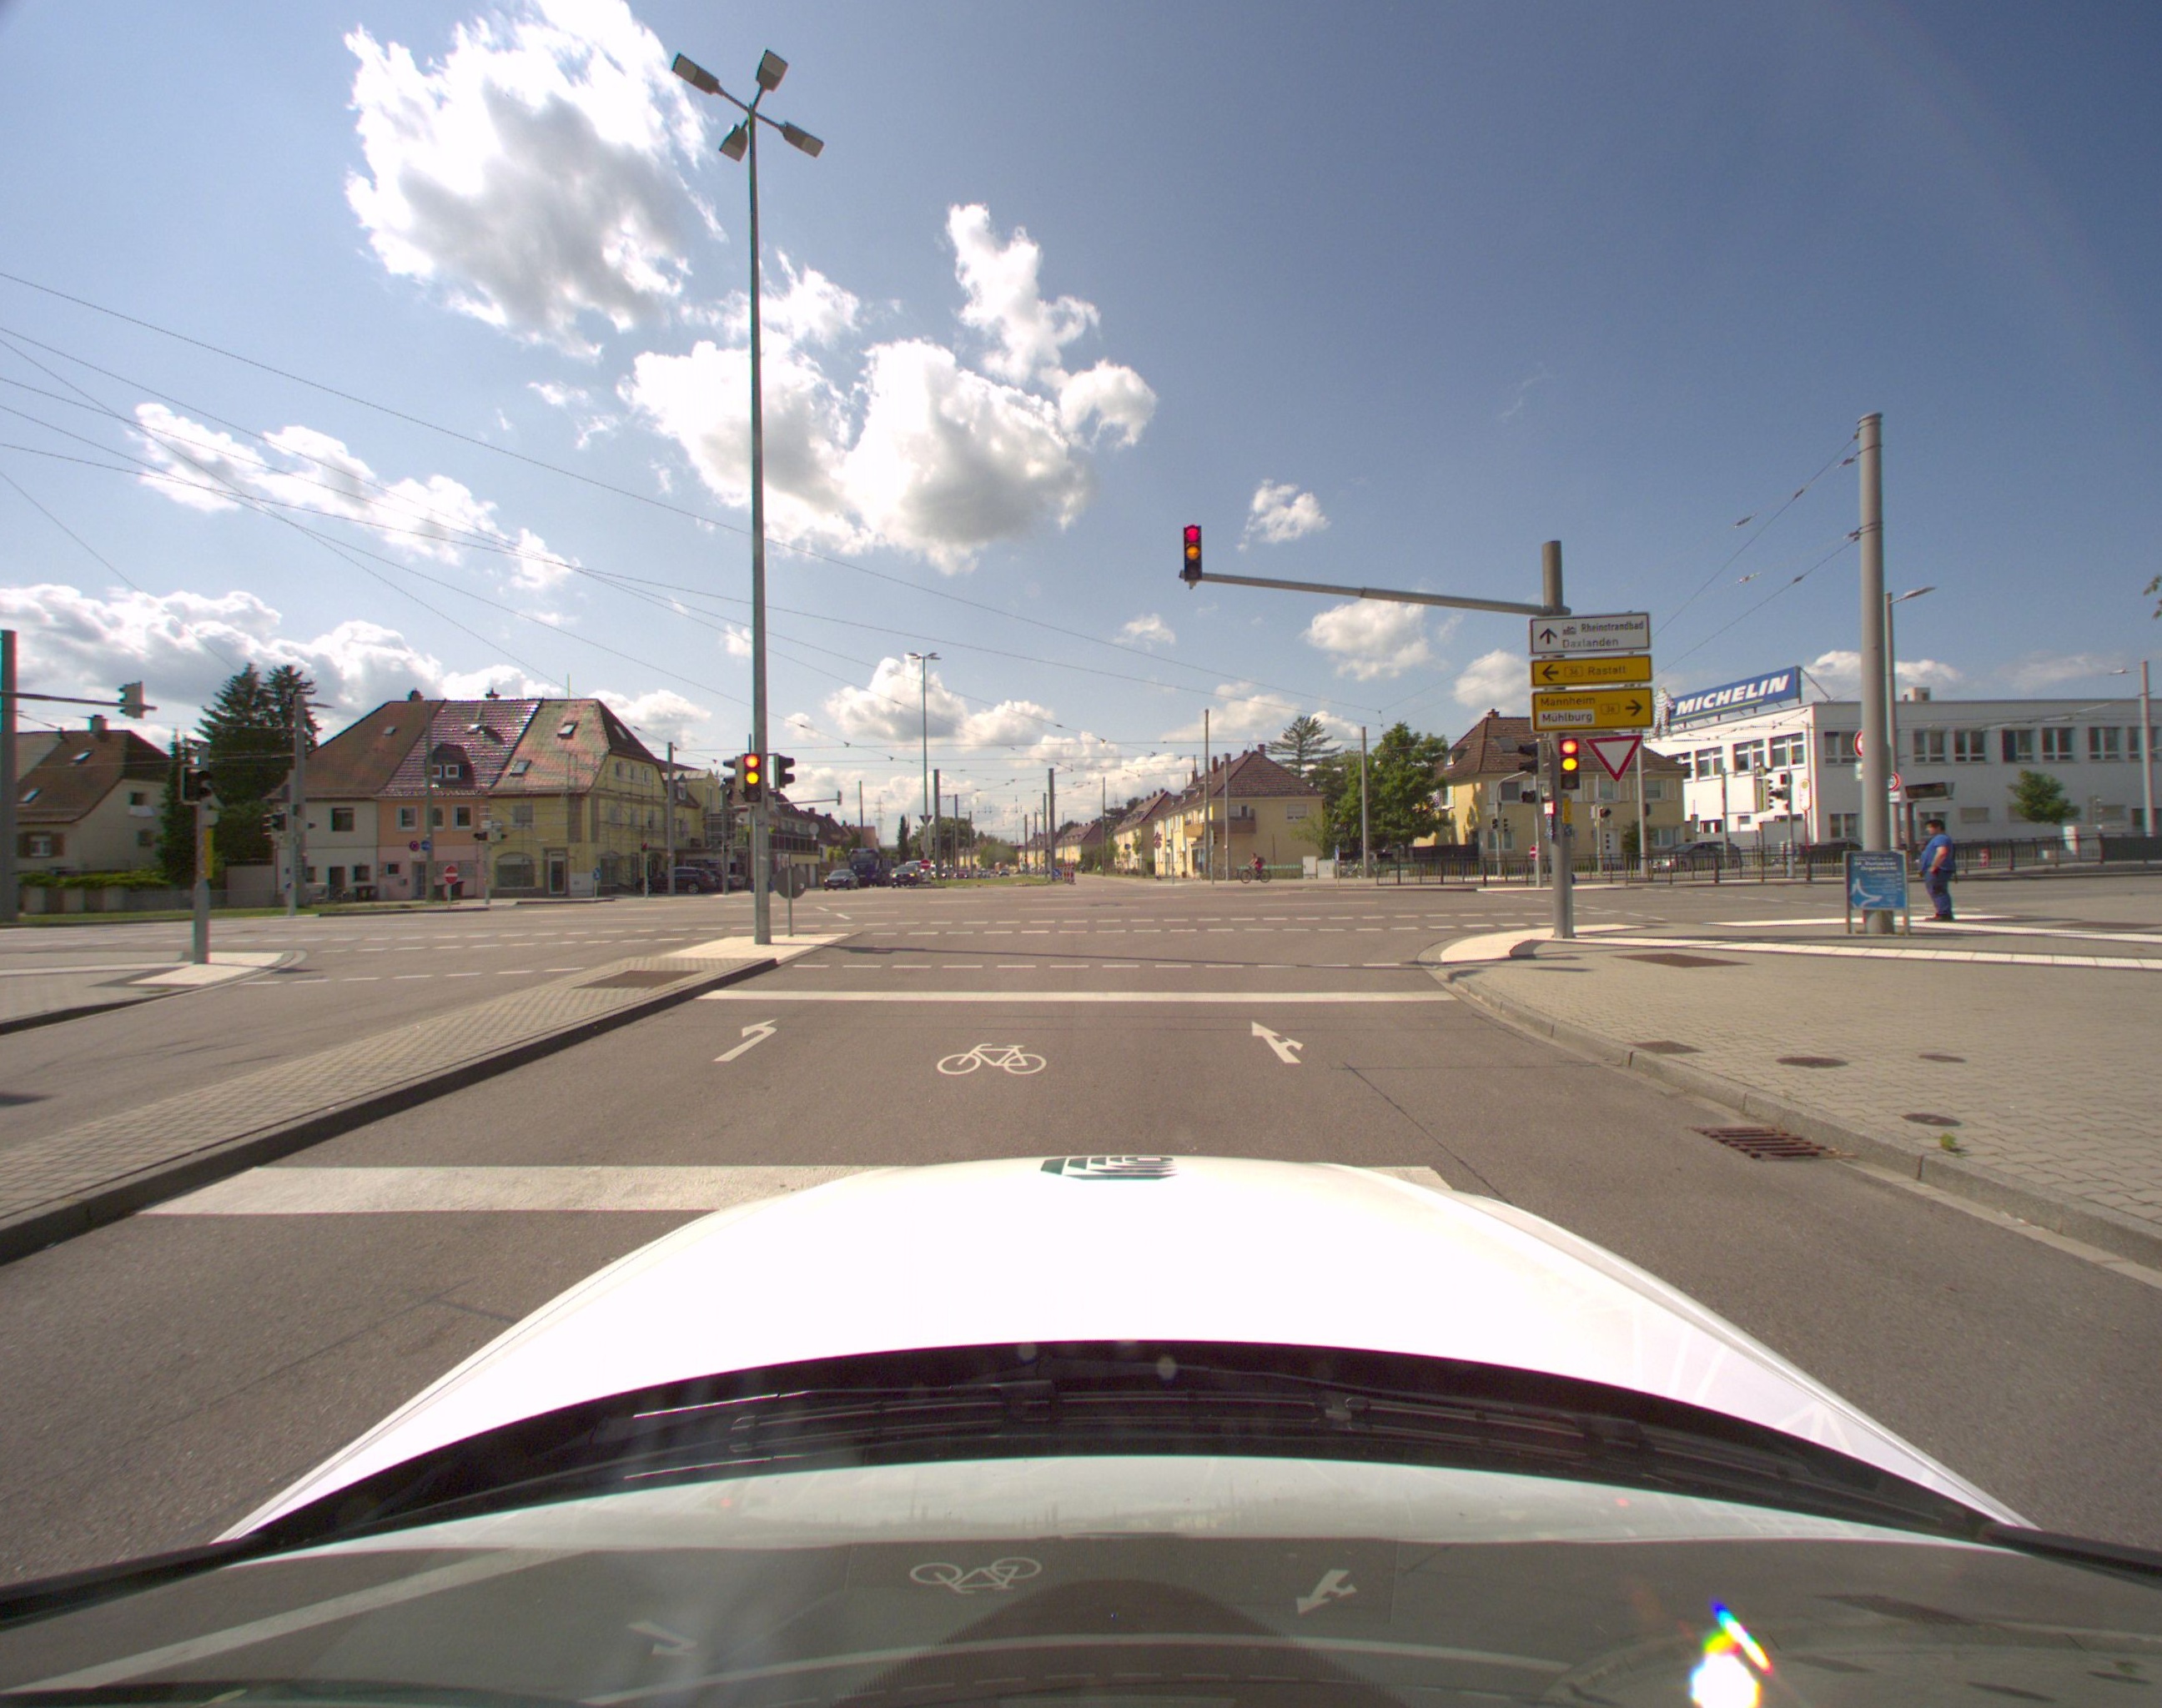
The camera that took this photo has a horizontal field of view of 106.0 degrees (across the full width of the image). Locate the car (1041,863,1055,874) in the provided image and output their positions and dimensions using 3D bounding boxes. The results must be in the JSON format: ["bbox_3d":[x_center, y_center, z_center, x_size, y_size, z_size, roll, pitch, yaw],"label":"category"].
[{"bbox_3d":[-6.396,2.776,157.625,2.064,2.149,4.865,-1,-1,-8],"label":"car"}]

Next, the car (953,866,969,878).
[{"bbox_3d":[-16.346,2.490,111.160,1.840,1.494,4.847,-2,-1,-5],"label":"car"}]

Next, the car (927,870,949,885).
[{"bbox_3d":[-14.258,2.339,81.282,1.912,1.419,3.991,-1,-1,-6],"label":"car"}]

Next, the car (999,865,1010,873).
[{"bbox_3d":[-15.045,2.962,159.702,1.814,1.552,3.997,-2,0,-2],"label":"car"}]

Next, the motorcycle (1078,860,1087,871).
[{"bbox_3d":[0.230,1.858,132.130,1.065,1.635,2.079,-1,-1,-6],"label":"motorcycle"}]

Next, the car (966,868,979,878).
[{"bbox_3d":[-17.947,3.163,135.067,1.840,1.562,4.180,-2,-1,-5],"label":"car"}]

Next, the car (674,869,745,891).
[{"bbox_3d":[-25.397,1.793,55.759,4.129,1.493,1.431,0,-1,-7],"label":"car"}]

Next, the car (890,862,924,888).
[{"bbox_3d":[-12.783,1.504,60.010,1.783,1.720,4.434,-1,0,-5],"label":"car"}]

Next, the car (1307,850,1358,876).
[{"bbox_3d":[16.971,0.658,55.137,1.821,1.621,3.989,-1,-2,-8],"label":"car"}]

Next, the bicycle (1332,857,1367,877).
[{"bbox_3d":[15.942,0.773,48.350,1.785,1.105,0.707,-2,-1,41],"label":"bicycle"}]

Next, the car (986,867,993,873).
[{"bbox_3d":[-25.803,4.528,230.327,1.262,1.426,2.646,-1,-1,-22],"label":"car"}]

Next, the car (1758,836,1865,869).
[{"bbox_3d":[34.915,-0.066,38.963,3.698,1.446,1.576,-2,-1,-1],"label":"car"}]

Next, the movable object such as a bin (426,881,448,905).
[{"bbox_3d":[-35.378,2.137,44.762,0.680,1.260,0.681,0,-1,-2],"label":"movable object such as a bin"}]

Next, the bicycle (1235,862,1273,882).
[{"bbox_3d":[10.075,1.069,47.524,2.027,1.102,0.713,-1,-1,-10],"label":"bicycle"}]

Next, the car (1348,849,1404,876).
[{"bbox_3d":[19.761,0.589,54.706,1.821,1.621,3.989,-1,-2,-8],"label":"car"}]

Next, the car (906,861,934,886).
[{"bbox_3d":[-13.109,1.542,66.438,1.812,1.922,4.737,-1,-1,-6],"label":"car"}]

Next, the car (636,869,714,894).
[{"bbox_3d":[-25.090,1.714,50.361,4.129,1.493,1.176,0,-1,-7],"label":"car"}]

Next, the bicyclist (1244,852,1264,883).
[{"bbox_3d":[10.144,0.803,47.733,0.956,1.775,0.717,-1,-1,-8],"label":"bicyclist"}]

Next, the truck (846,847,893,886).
[{"bbox_3d":[-18.166,1.098,70.274,2.765,3.188,7.565,-1,-1,-6],"label":"truck"}]

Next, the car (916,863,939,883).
[{"bbox_3d":[-13.982,1.736,74.333,1.731,1.782,4.395,-2,-1,-6],"label":"car"}]

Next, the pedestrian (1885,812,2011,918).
[{"bbox_3d":[14.855,0.181,13.994,1.027,1.735,1.040,-1,0,-2],"label":"pedestrian"}]

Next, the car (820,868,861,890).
[{"bbox_3d":[-17.240,1.791,58.633,1.824,1.487,4.328,-1,-1,-3],"label":"car"}]

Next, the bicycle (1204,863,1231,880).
[{"bbox_3d":[9.290,1.187,55.635,0.596,1.096,2.257,-1,-1,-26],"label":"bicycle"}]

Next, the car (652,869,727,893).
[{"bbox_3d":[-25.453,1.736,53.047,4.129,1.493,1.504,0,-1,-7],"label":"car"}]

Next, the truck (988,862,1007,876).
[{"bbox_3d":[-22.416,4.100,218.292,2.651,3.494,9.368,-1,-1,-21],"label":"truck"}]

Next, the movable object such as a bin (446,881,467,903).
[{"bbox_3d":[-35.353,2.147,46.097,0.680,1.260,0.681,0,-1,-2],"label":"movable object such as a bin"}]

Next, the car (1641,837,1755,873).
[{"bbox_3d":[28.958,0.063,38.311,3.974,1.568,1.842,-2,-1,-1],"label":"car"}]

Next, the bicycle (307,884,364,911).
[{"bbox_3d":[-40.808,2.357,44.631,0.770,1.356,2.460,0,-1,3],"label":"bicycle"}]
